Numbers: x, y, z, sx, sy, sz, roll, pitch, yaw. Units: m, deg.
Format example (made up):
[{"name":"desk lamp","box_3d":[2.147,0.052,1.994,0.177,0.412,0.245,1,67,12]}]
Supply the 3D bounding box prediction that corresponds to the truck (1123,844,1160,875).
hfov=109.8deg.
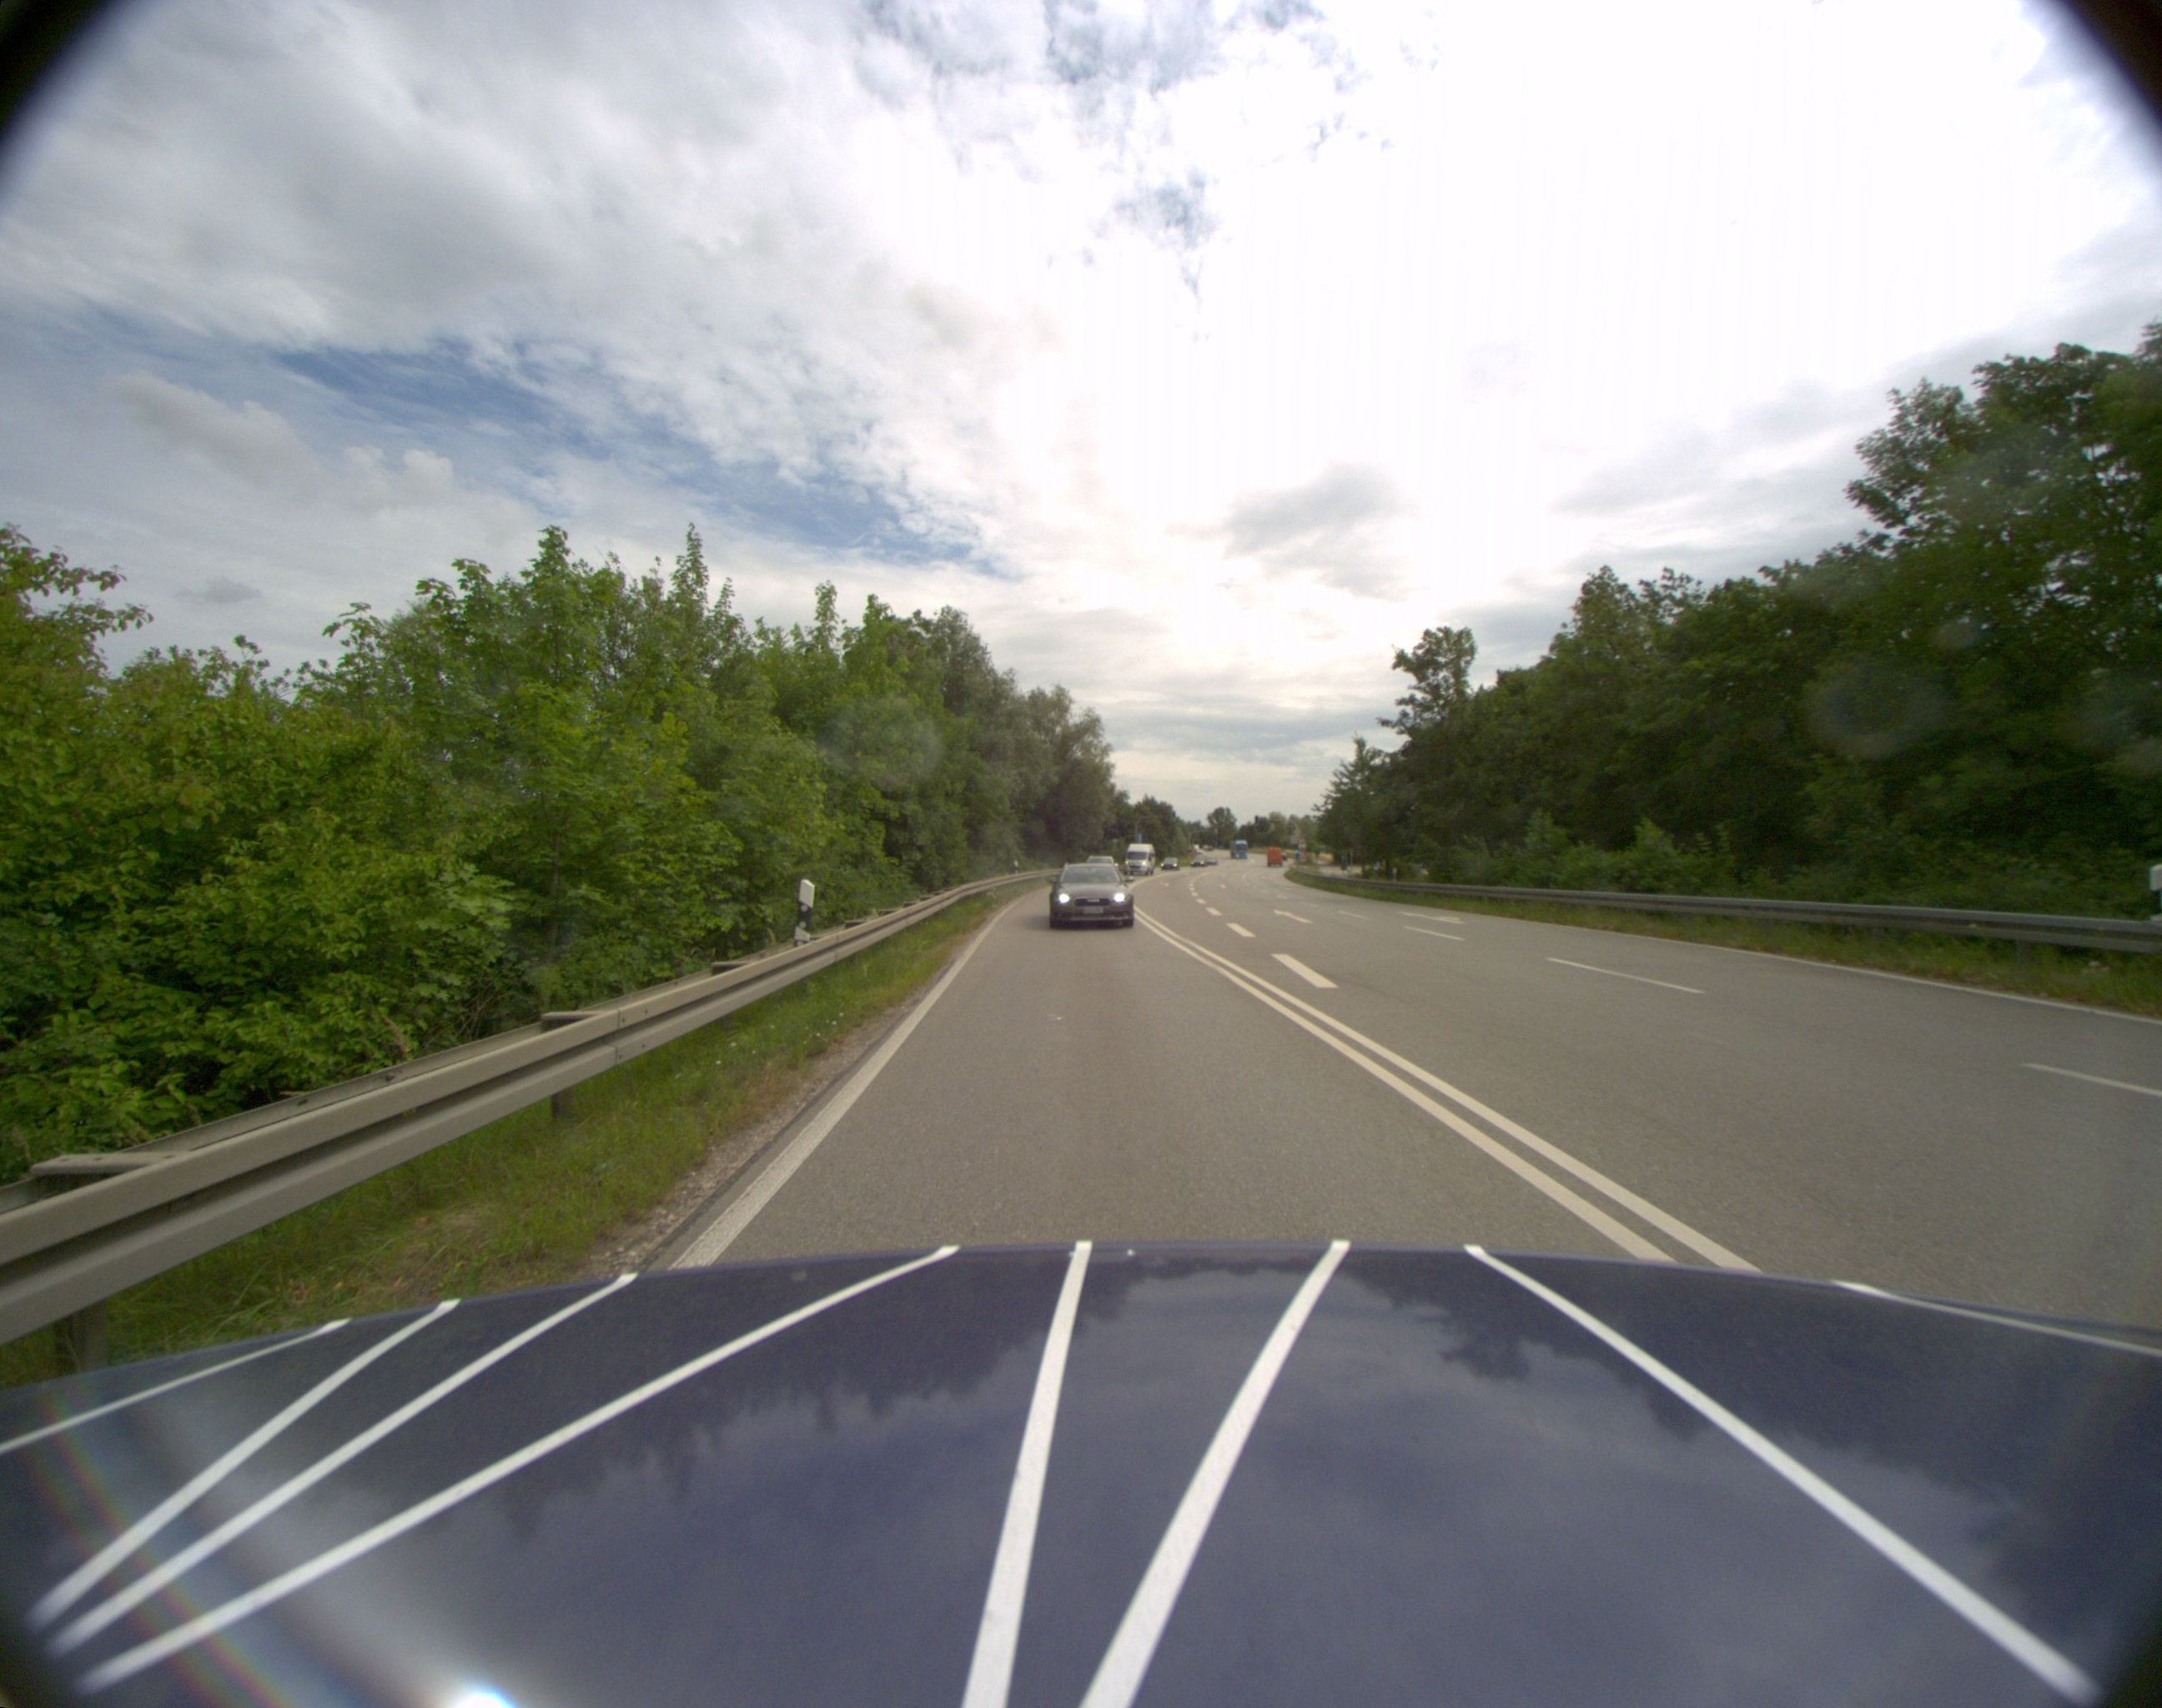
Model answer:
[{"name":"truck","box_3d":[5.391,0.418,66.769,2.376,2.579,6.004,1,1,13]}]

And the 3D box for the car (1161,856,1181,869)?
[{"name":"car","box_3d":[10.171,0.980,85.838,1.742,1.317,4.004,3,0,12]}]

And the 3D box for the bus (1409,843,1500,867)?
[{"name":"bus","box_3d":[48.269,0.080,98.473,10.060,3.029,3.123,0,1,6]}]

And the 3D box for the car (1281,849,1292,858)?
[{"name":"car","box_3d":[38.145,-0.096,140.886,1.720,1.489,4.553,2,0,13]}]

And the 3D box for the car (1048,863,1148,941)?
[{"name":"car","box_3d":[0.315,0.984,17.503,1.965,1.446,4.796,0,1,-1]}]

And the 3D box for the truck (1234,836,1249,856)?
[{"name":"truck","box_3d":[36.223,-1.769,171.645,3.024,4.325,9.579,1,1,11]}]

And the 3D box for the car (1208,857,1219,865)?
[{"name":"car","box_3d":[21.375,1.117,122.571,1.743,1.317,4.003,3,0,9]}]

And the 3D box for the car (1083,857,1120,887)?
[{"name":"car","box_3d":[1.196,0.966,42.636,1.826,1.489,4.225,2,1,5]}]

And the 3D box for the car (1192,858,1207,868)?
[{"name":"car","box_3d":[17.093,1.276,109.586,1.742,1.317,4.004,3,0,13]}]

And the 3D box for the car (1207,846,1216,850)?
[{"name":"car","box_3d":[42.233,-1.954,246.041,1.745,1.378,3.996,2,2,-7]}]

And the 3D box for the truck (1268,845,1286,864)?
[{"name":"truck","box_3d":[27.727,0.074,107.658,2.319,2.586,6.030,2,1,15]}]

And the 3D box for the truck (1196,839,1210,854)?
[{"name":"truck","box_3d":[35.467,-2.153,221.566,3.026,4.325,9.573,1,1,4]}]
